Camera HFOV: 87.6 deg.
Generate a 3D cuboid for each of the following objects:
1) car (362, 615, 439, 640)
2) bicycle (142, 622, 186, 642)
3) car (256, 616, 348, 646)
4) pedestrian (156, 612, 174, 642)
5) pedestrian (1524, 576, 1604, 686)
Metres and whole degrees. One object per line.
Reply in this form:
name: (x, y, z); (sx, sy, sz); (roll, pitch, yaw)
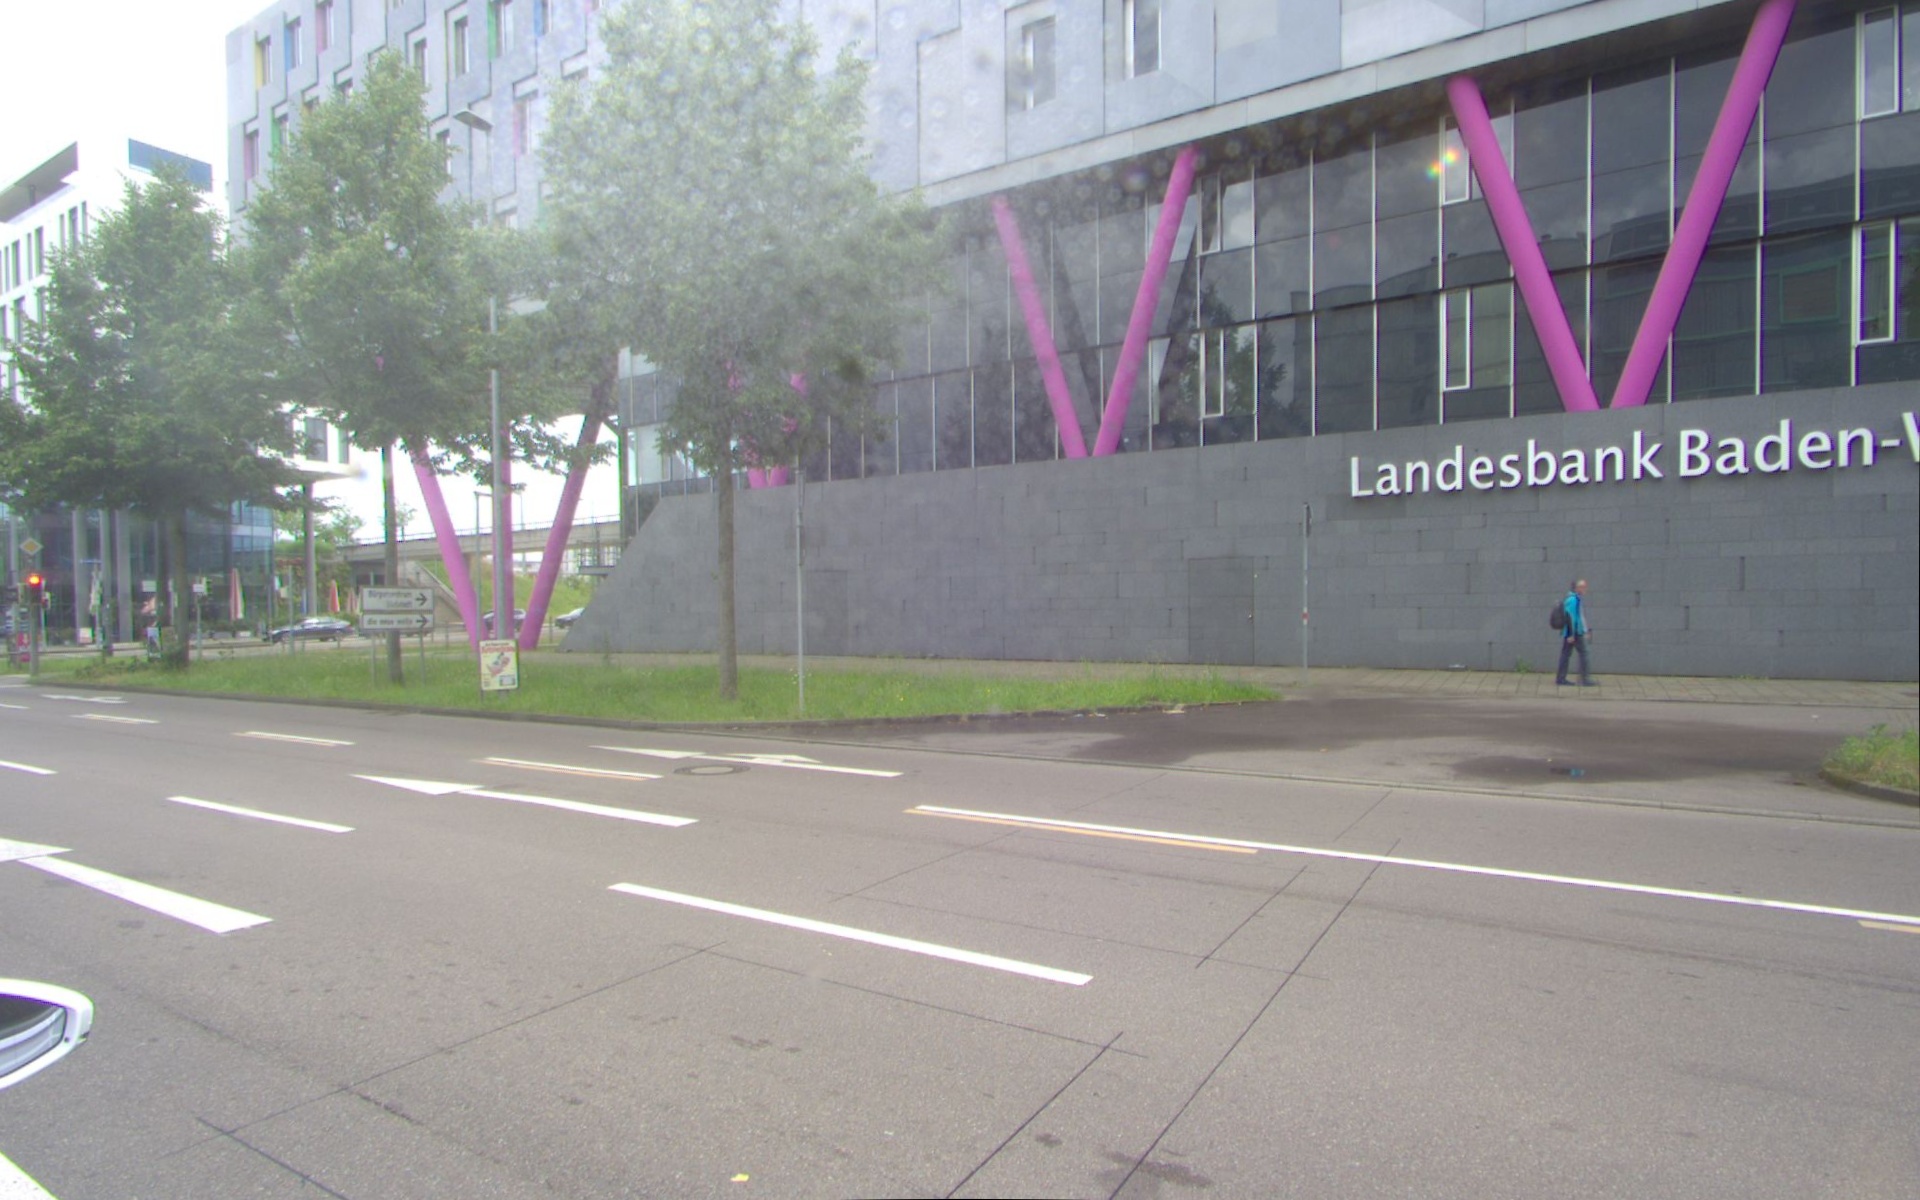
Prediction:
car: (-36.234, 1.748, 64.937); (1.734, 1.474, 4.070); (0, 0, 34)
bicycle: (-44.007, 1.759, 55.351); (0.609, 1.100, 1.787); (0, 0, 34)
car: (-39.167, 1.818, 59.664); (1.734, 1.636, 4.240); (0, 0, 34)
pedestrian: (-43.976, 1.500, 55.396); (0.610, 1.625, 0.613); (0, 1, 34)
pedestrian: (10.303, 0.502, 17.069); (1.121, 1.794, 1.049); (0, 1, 33)
